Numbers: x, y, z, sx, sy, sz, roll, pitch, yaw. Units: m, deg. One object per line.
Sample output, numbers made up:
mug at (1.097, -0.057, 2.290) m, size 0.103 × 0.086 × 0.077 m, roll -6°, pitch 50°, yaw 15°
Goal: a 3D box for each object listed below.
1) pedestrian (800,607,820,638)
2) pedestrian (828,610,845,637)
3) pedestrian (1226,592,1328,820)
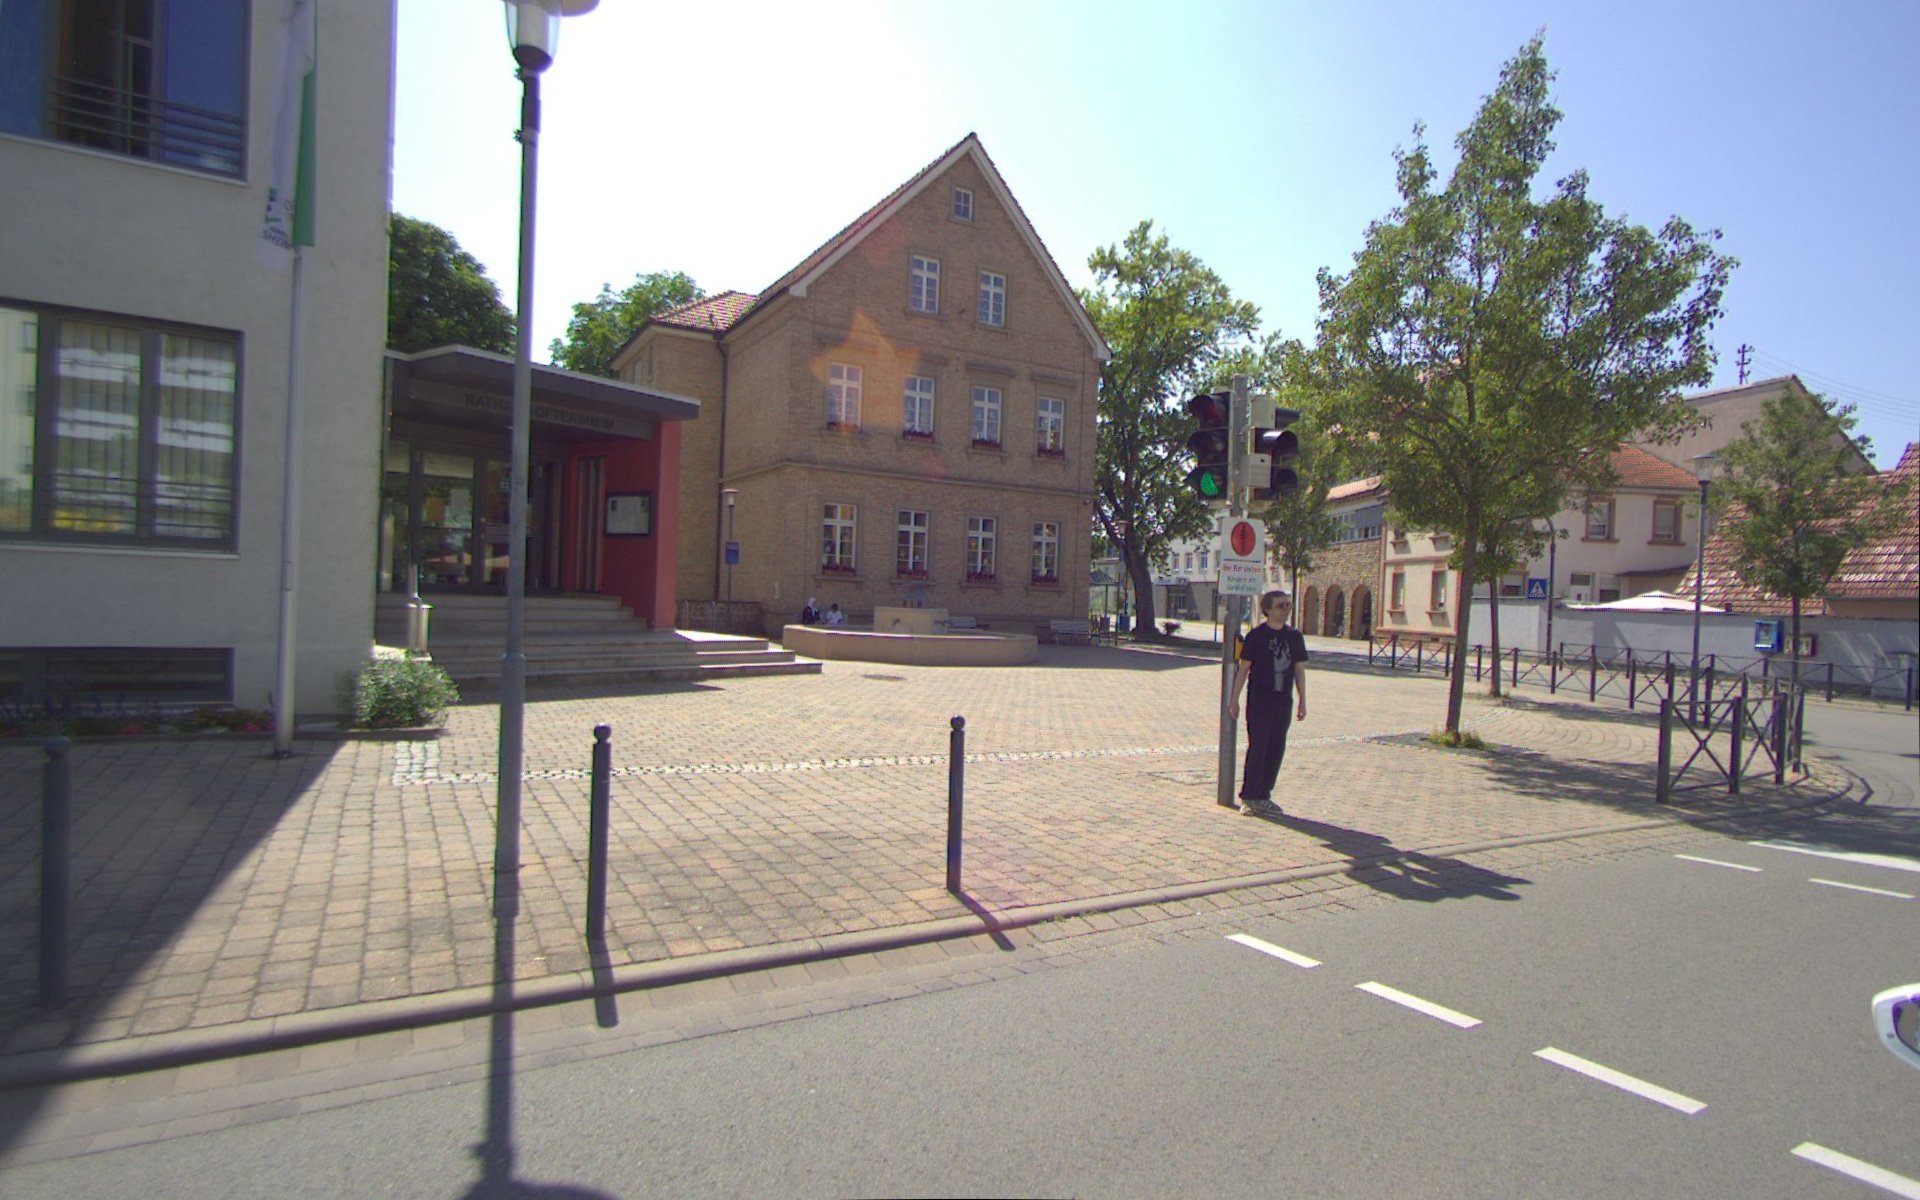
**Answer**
pedestrian at (-4.106, 0.610, 27.472) m, size 0.356 × 0.828 × 0.365 m, roll 2°, pitch 0°, yaw 44°
pedestrian at (-3.443, 0.654, 27.955) m, size 0.353 × 0.742 × 0.288 m, roll 2°, pitch 0°, yaw 44°
pedestrian at (2.404, 0.778, 7.658) m, size 0.546 × 1.640 × 0.550 m, roll 3°, pitch 0°, yaw 5°
